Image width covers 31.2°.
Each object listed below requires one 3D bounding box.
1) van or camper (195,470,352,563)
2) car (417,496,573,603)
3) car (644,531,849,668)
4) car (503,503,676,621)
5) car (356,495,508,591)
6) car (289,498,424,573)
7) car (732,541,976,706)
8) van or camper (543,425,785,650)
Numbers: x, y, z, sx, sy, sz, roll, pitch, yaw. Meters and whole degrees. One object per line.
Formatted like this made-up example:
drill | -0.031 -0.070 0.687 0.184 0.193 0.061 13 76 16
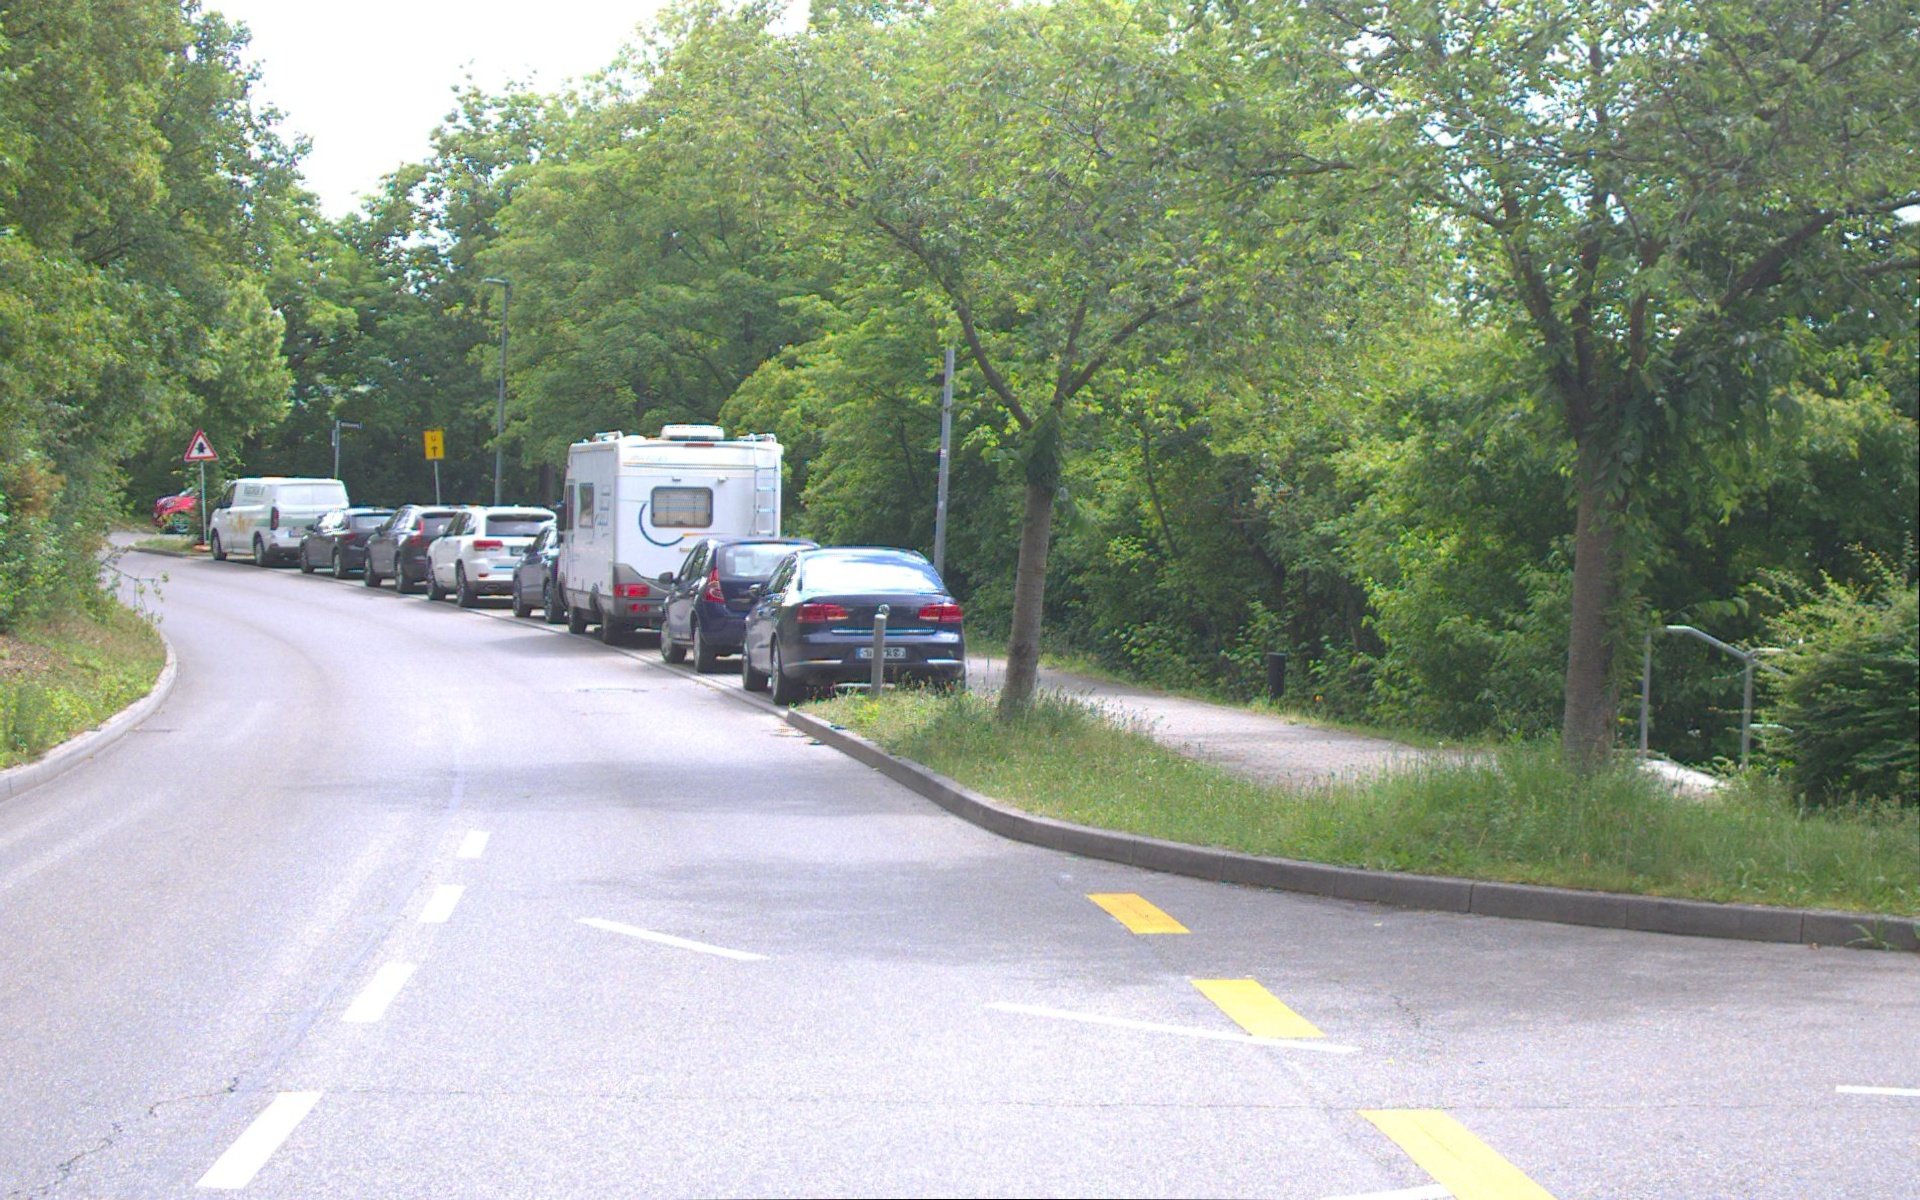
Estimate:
van or camper | -15.525 -1.926 77.536 1.993 1.913 5.267 -1 4 -28
car | -8.234 -0.916 60.552 1.871 1.683 4.581 1 2 -18
car | -2.549 -0.028 40.249 1.728 1.514 3.890 0 1 -14
car | -5.818 -0.630 53.642 1.710 1.585 4.001 -7 4 -18
car | -10.182 -1.130 66.049 1.993 1.620 4.280 -2 4 -21
car | -12.740 -1.375 72.385 1.797 1.459 4.001 0 2 -25
car | -1.095 0.175 33.171 1.775 1.429 4.335 0 2 -10
van or camper | -4.199 -0.898 47.668 2.332 2.859 6.152 1 1 -14
